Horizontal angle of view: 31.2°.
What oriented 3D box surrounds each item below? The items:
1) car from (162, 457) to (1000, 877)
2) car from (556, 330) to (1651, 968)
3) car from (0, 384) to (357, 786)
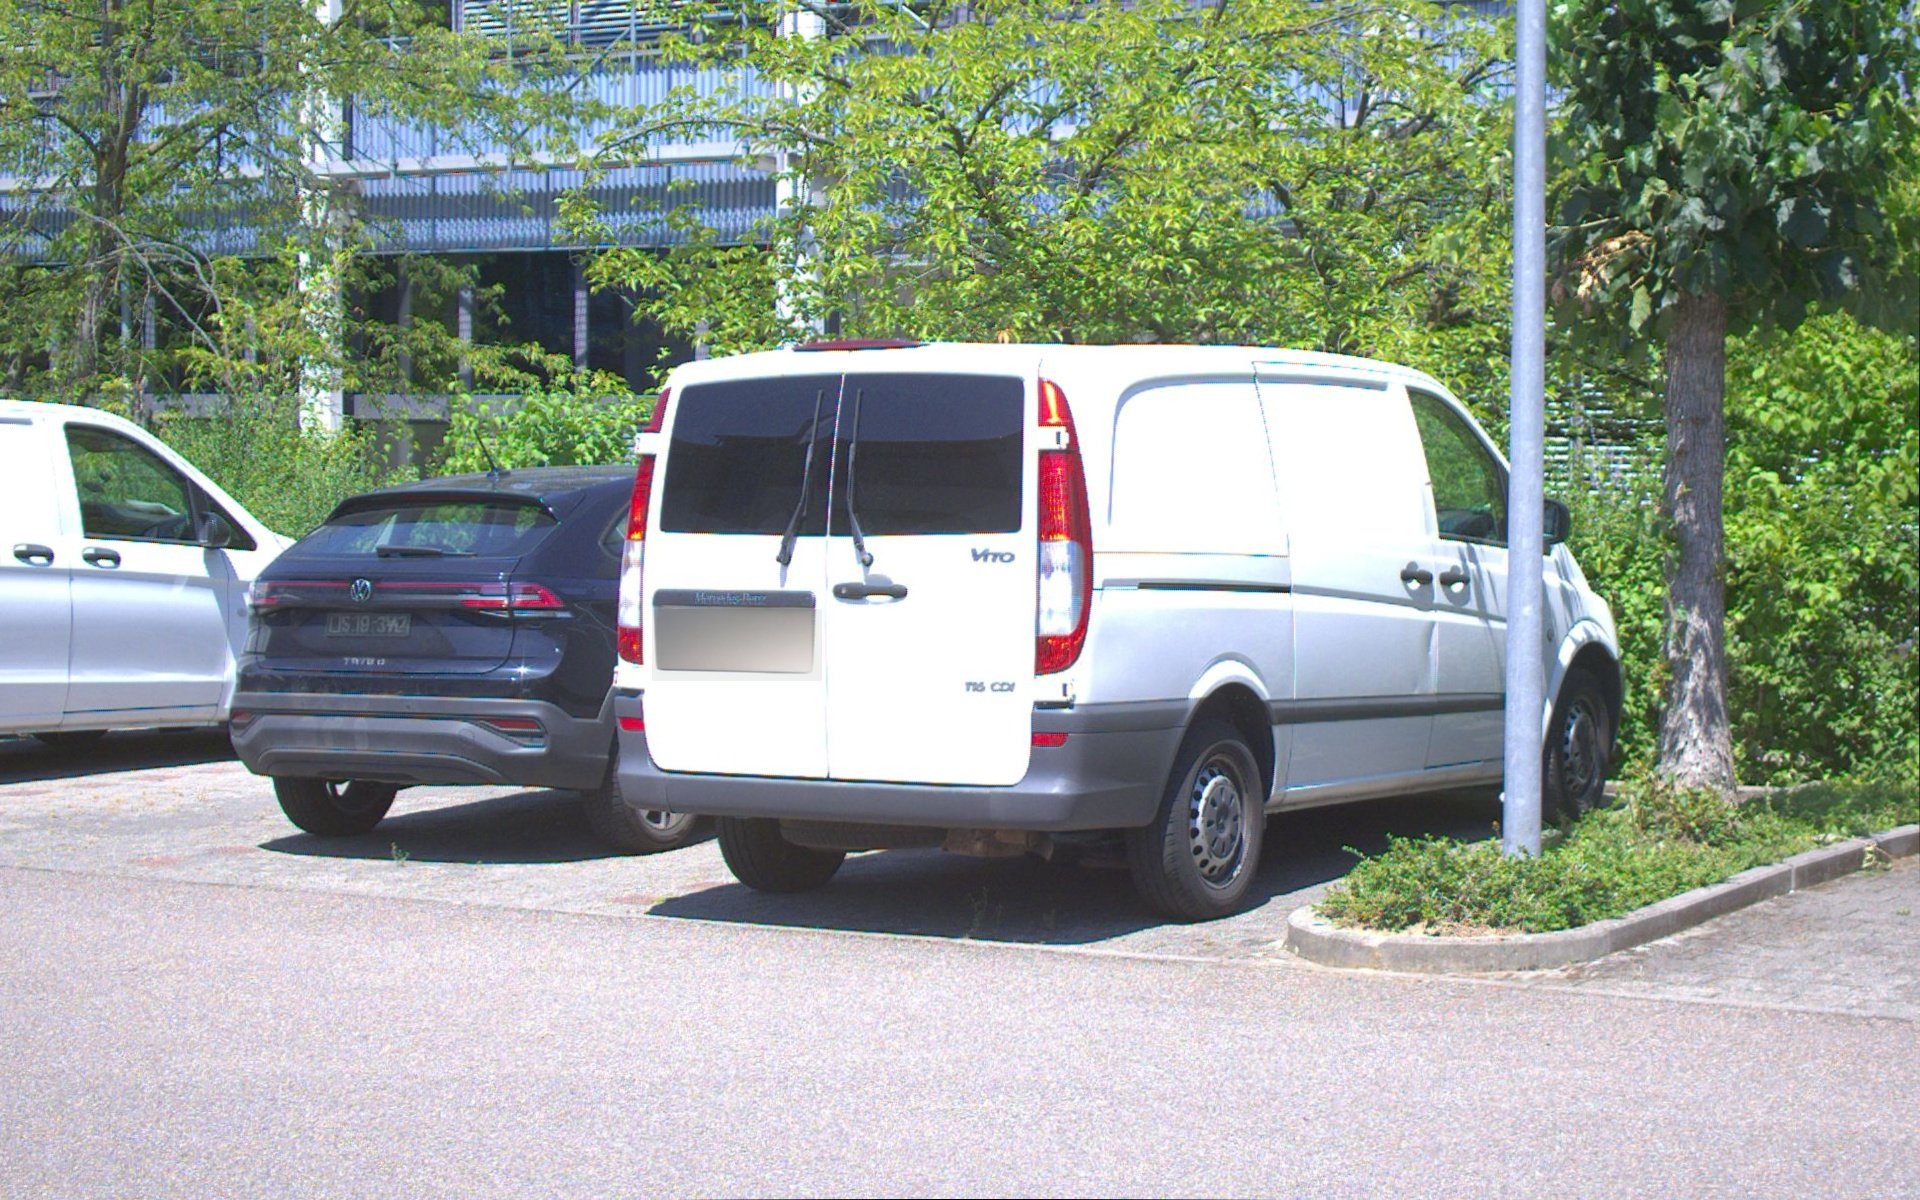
[{"bbox_3d":[-1.435,0.161,14.671,1.756,1.471,3.996,0,3,24],"label":"car"},{"bbox_3d":[0.783,0.021,12.748,1.916,1.898,4.800,1,3,32],"label":"car"},{"bbox_3d":[-5.317,-0.090,16.630,1.885,1.884,4.794,2,4,35],"label":"car"}]
